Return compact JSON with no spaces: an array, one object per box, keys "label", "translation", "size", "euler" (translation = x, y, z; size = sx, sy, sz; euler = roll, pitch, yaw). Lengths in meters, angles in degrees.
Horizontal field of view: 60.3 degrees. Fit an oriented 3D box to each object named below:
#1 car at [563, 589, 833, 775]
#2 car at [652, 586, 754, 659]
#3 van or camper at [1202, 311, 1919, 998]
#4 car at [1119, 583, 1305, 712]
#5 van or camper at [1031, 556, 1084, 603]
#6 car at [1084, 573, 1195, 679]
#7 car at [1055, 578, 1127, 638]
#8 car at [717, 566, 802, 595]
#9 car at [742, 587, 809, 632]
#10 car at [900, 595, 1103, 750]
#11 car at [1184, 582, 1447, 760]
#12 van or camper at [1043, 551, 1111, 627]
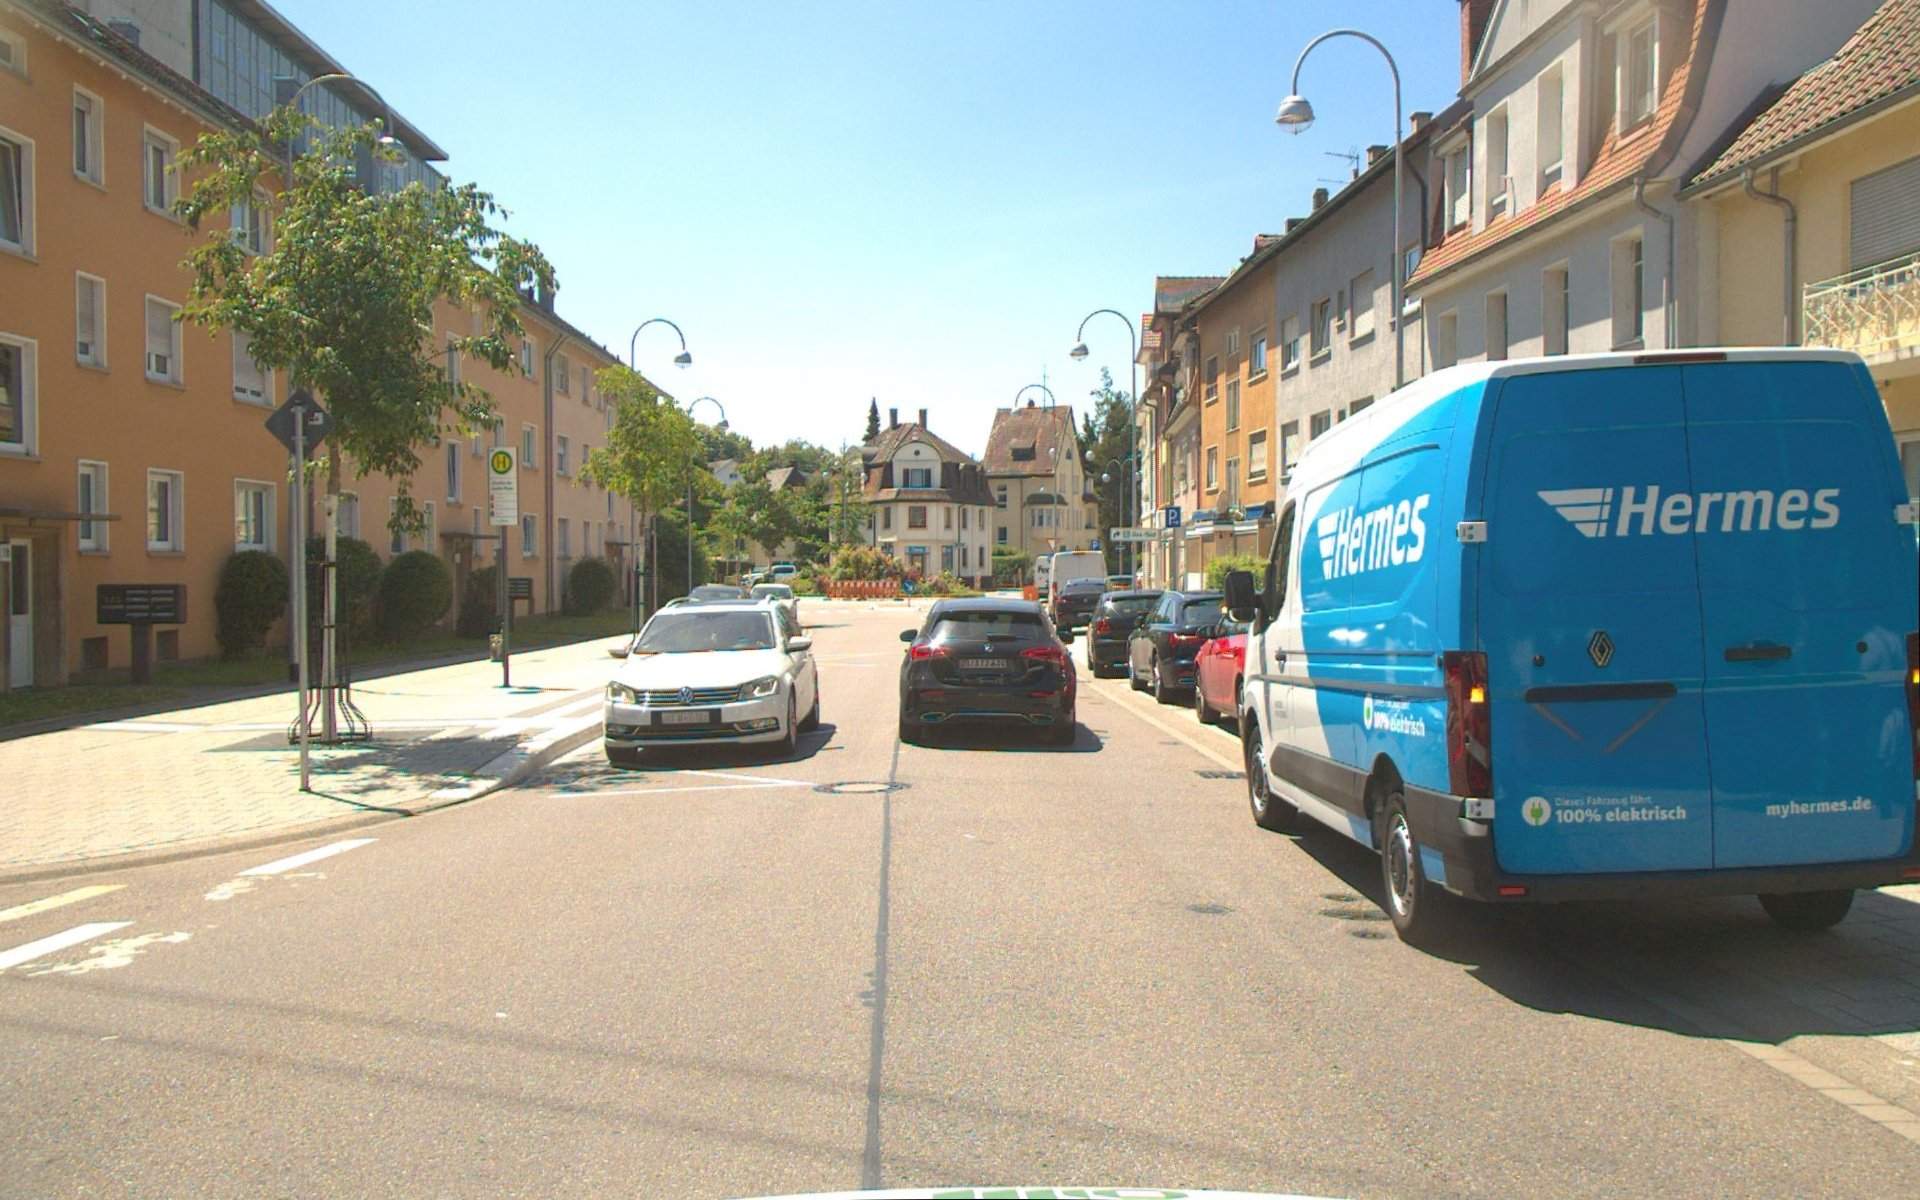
[{"label":"car","translation":[-2.480,0.712,16.763],"size":[1.952,1.533,4.289],"euler":[0,2,1]},{"label":"car","translation":[-6.026,0.476,39.220],"size":[1.820,1.533,4.561],"euler":[-1,2,-2]},{"label":"van or camper","translation":[2.879,0.177,9.306],"size":[2.065,2.510,6.177],"euler":[-2,0,0]},{"label":"car","translation":[3.457,0.587,23.575],"size":[1.767,1.500,4.720],"euler":[-4,1,-1]},{"label":"van or camper","translation":[5.687,-1.210,95.833],"size":[2.159,2.656,4.003],"euler":[0,1,17]},{"label":"car","translation":[3.170,0.404,29.825],"size":[1.692,1.661,4.002],"euler":[-3,1,3]},{"label":"car","translation":[3.989,0.204,49.921],"size":[1.855,1.635,4.368],"euler":[-2,1,8]},{"label":"car","translation":[-13.499,-1.306,111.347],"size":[5.344,1.847,1.981],"euler":[1,1,-30]},{"label":"car","translation":[-6.236,0.304,56.279],"size":[1.953,1.445,4.087],"euler":[-1,0,-2]},{"label":"car","translation":[0.391,0.684,17.673],"size":[1.913,1.452,4.000],"euler":[1,0,0]},{"label":"car","translation":[3.577,0.634,17.406],"size":[1.767,1.556,4.150],"euler":[-2,1,-1]},{"label":"van or camper","translation":[4.294,-0.448,61.472],"size":[2.120,2.634,5.767],"euler":[-2,1,1]}]
